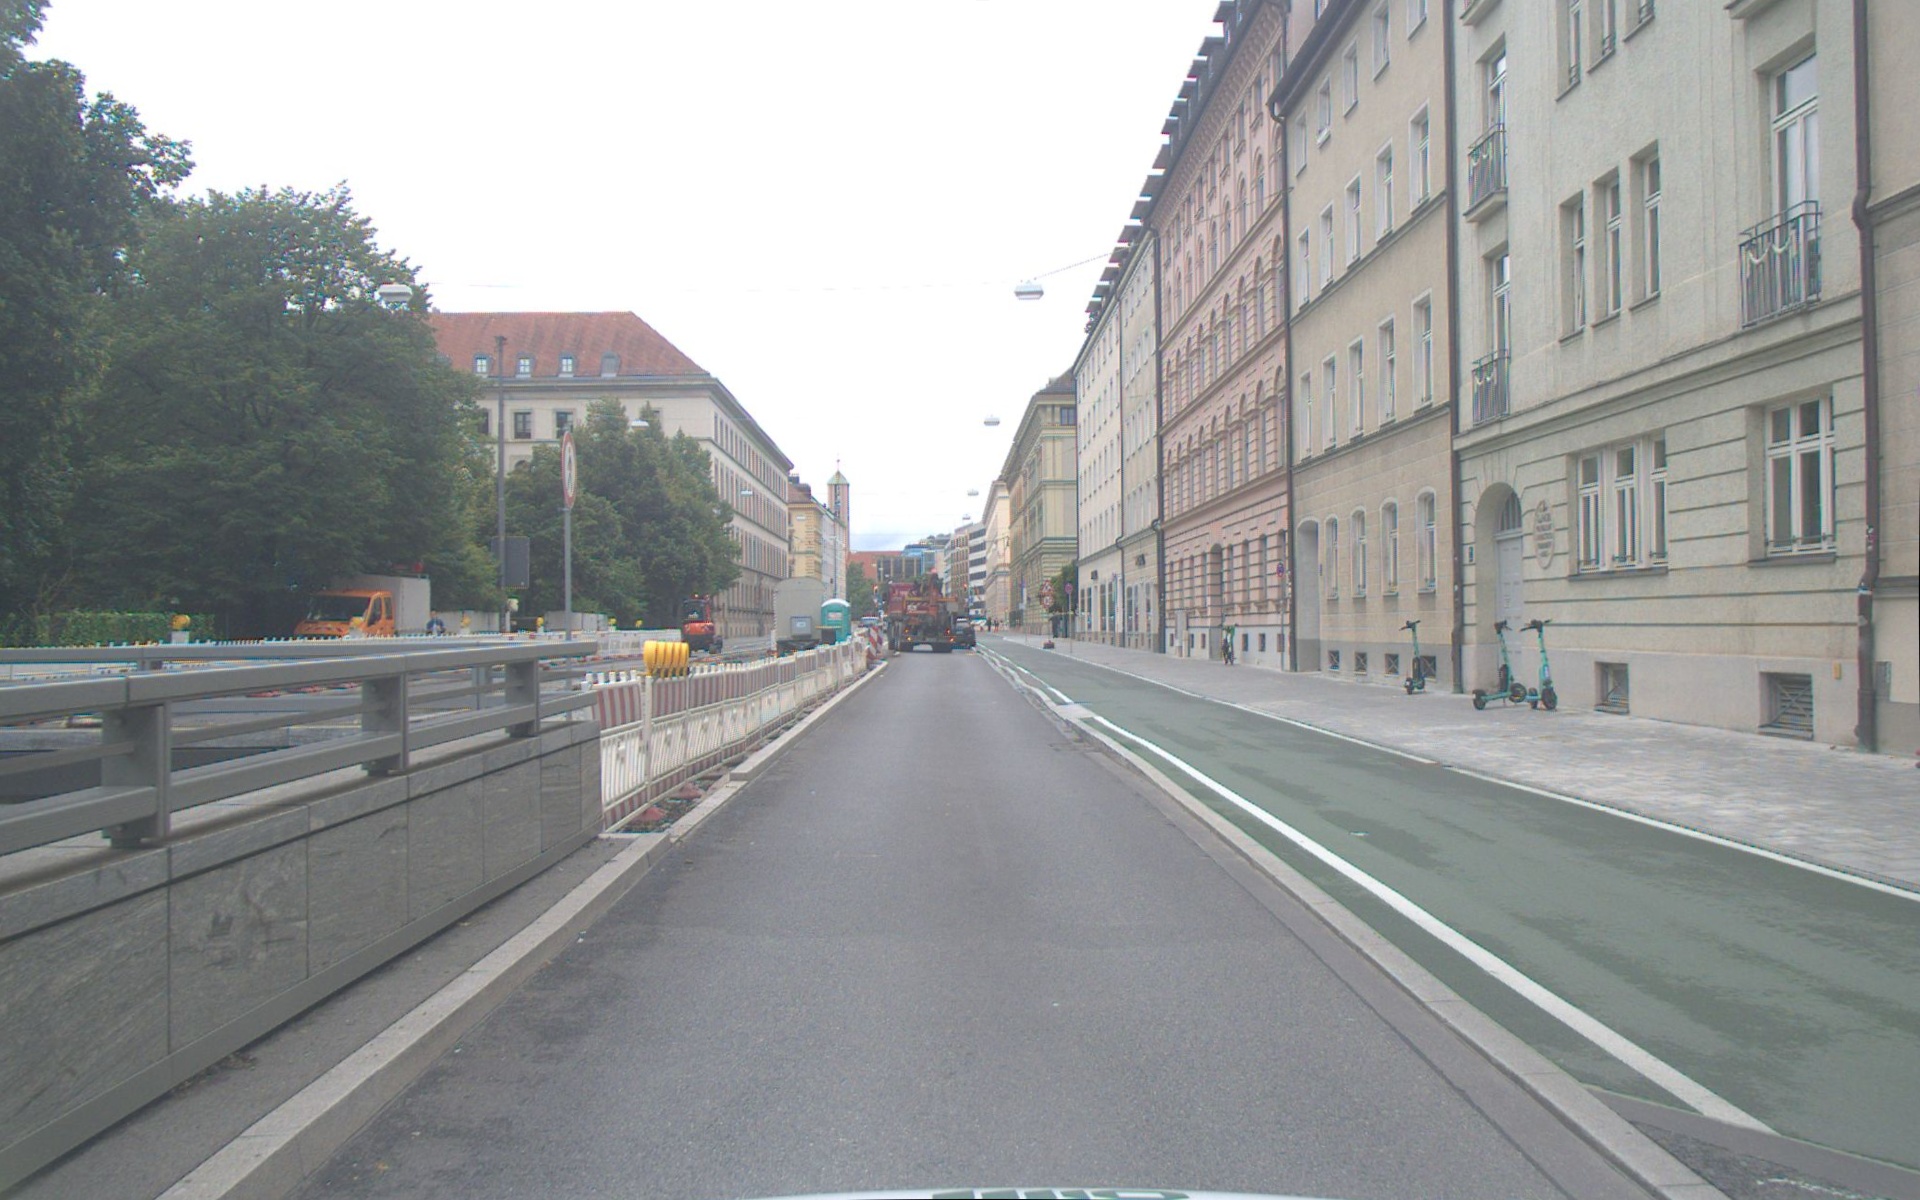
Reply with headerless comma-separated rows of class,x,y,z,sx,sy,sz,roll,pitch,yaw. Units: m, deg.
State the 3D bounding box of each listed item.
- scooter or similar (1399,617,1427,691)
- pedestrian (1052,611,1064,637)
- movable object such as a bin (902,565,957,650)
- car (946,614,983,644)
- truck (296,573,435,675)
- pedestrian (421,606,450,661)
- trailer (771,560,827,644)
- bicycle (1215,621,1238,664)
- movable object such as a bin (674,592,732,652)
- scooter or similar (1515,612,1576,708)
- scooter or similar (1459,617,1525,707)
scooter or similar,8.008,0.945,29.206,0.241,1.252,1.119,-3,-1,24
pedestrian,6.978,1.711,118.187,0.774,1.868,0.777,-1,-1,0
movable object such as a bin,-1.415,0.354,74.737,2.374,3.675,5.848,0,-1,-2
car,0.205,1.510,86.992,1.765,1.506,4.685,-1,-1,-2
truck,-17.258,0.686,48.383,1.953,2.776,5.869,0,0,0
pedestrian,-15.859,1.011,50.053,0.649,1.631,0.698,0,-1,0
trailer,-6.757,0.120,69.475,2.183,3.300,7.509,-1,-1,-6
bicycle,7.663,1.211,47.558,0.417,1.195,1.732,-2,-1,16
movable object such as a bin,-11.661,0.990,75.365,1.884,2.617,4.492,0,0,0
scooter or similar,8.213,0.837,23.228,0.379,1.295,1.119,-2,-1,-1
scooter or similar,7.793,0.898,24.231,1.106,1.252,0.244,-2,-2,-35
